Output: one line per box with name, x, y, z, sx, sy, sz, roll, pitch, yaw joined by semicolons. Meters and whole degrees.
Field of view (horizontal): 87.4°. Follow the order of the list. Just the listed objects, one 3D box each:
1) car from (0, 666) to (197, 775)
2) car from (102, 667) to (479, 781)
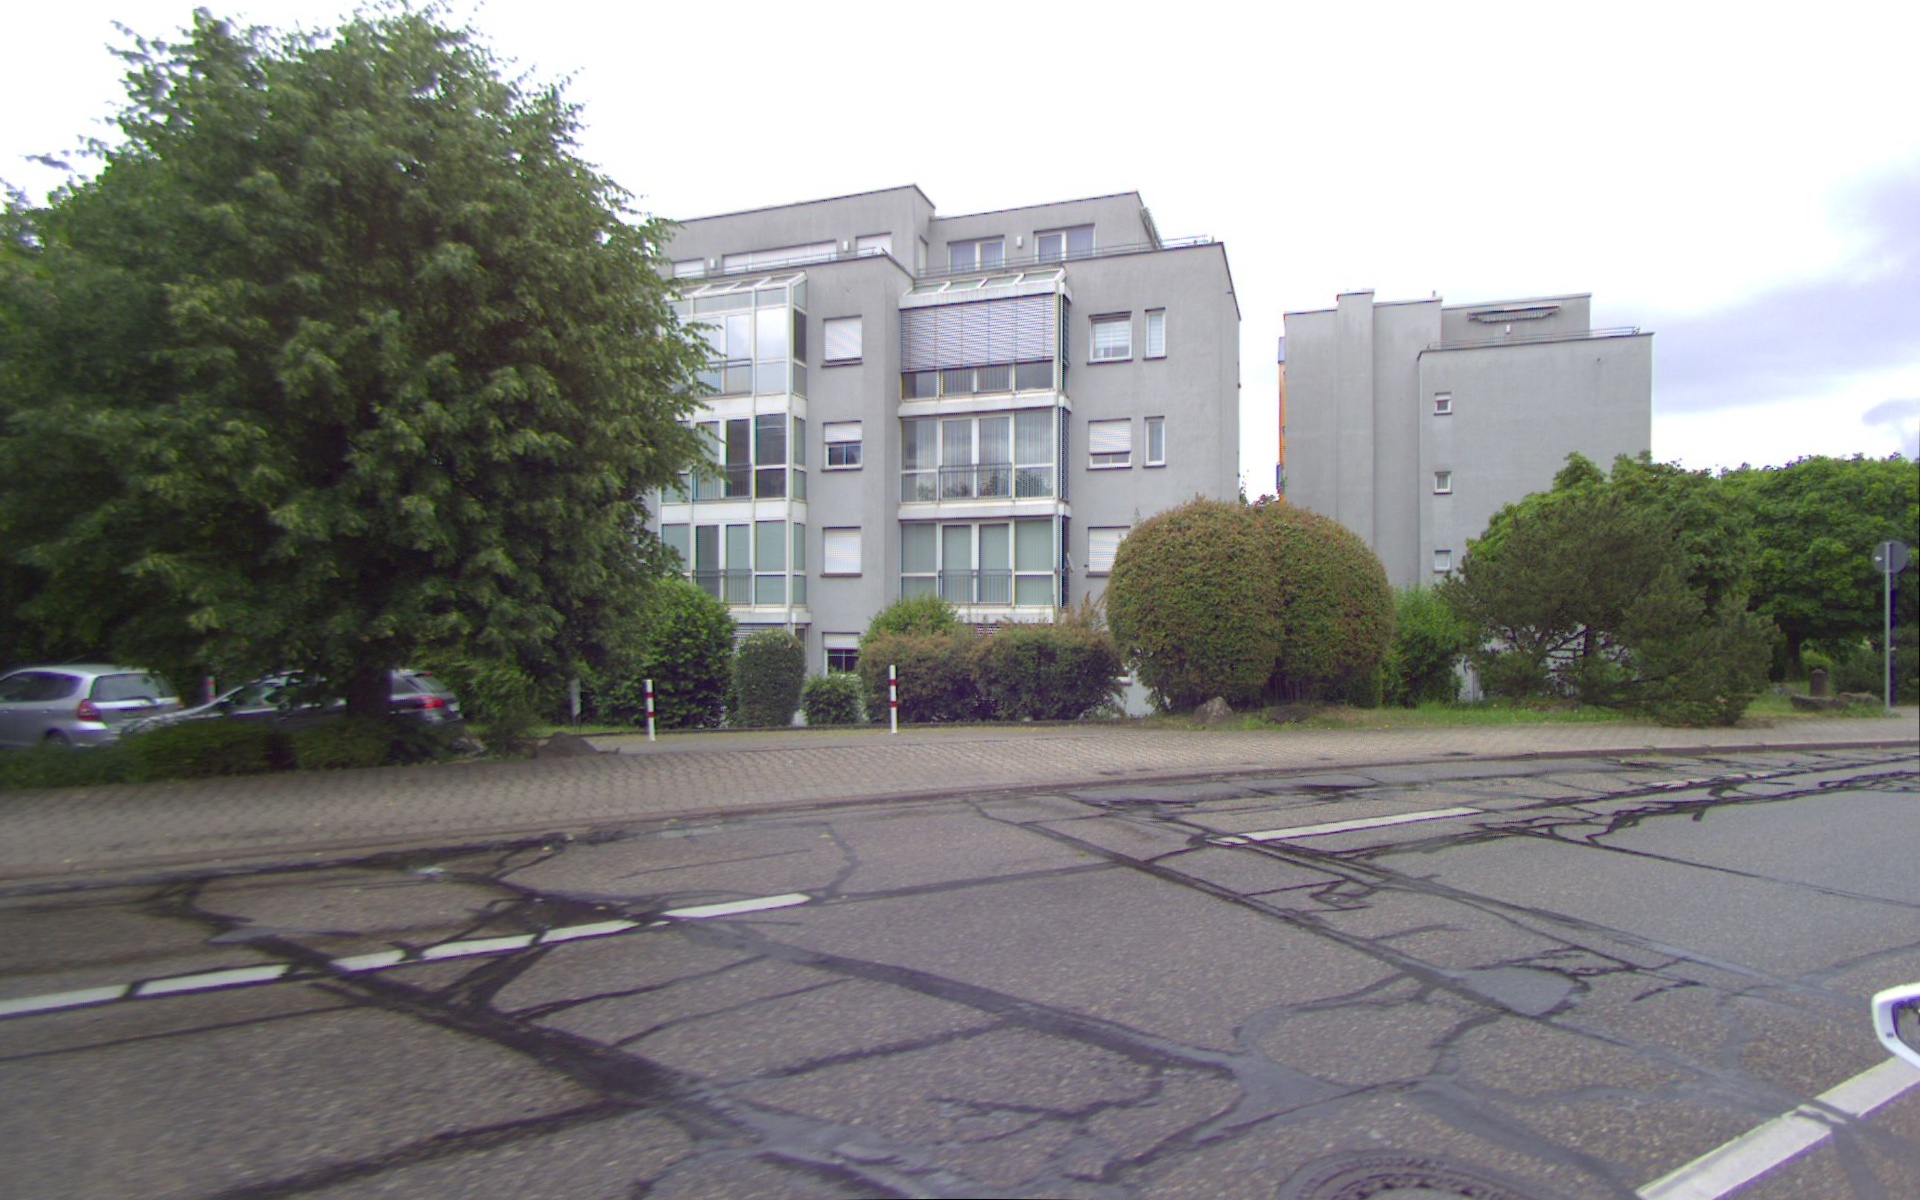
car;-14.656;1.893;16.437;3.642;1.451;1.671;1;-1;18
car;-9.388;1.769;14.575;4.103;1.438;1.993;1;-8;-20
